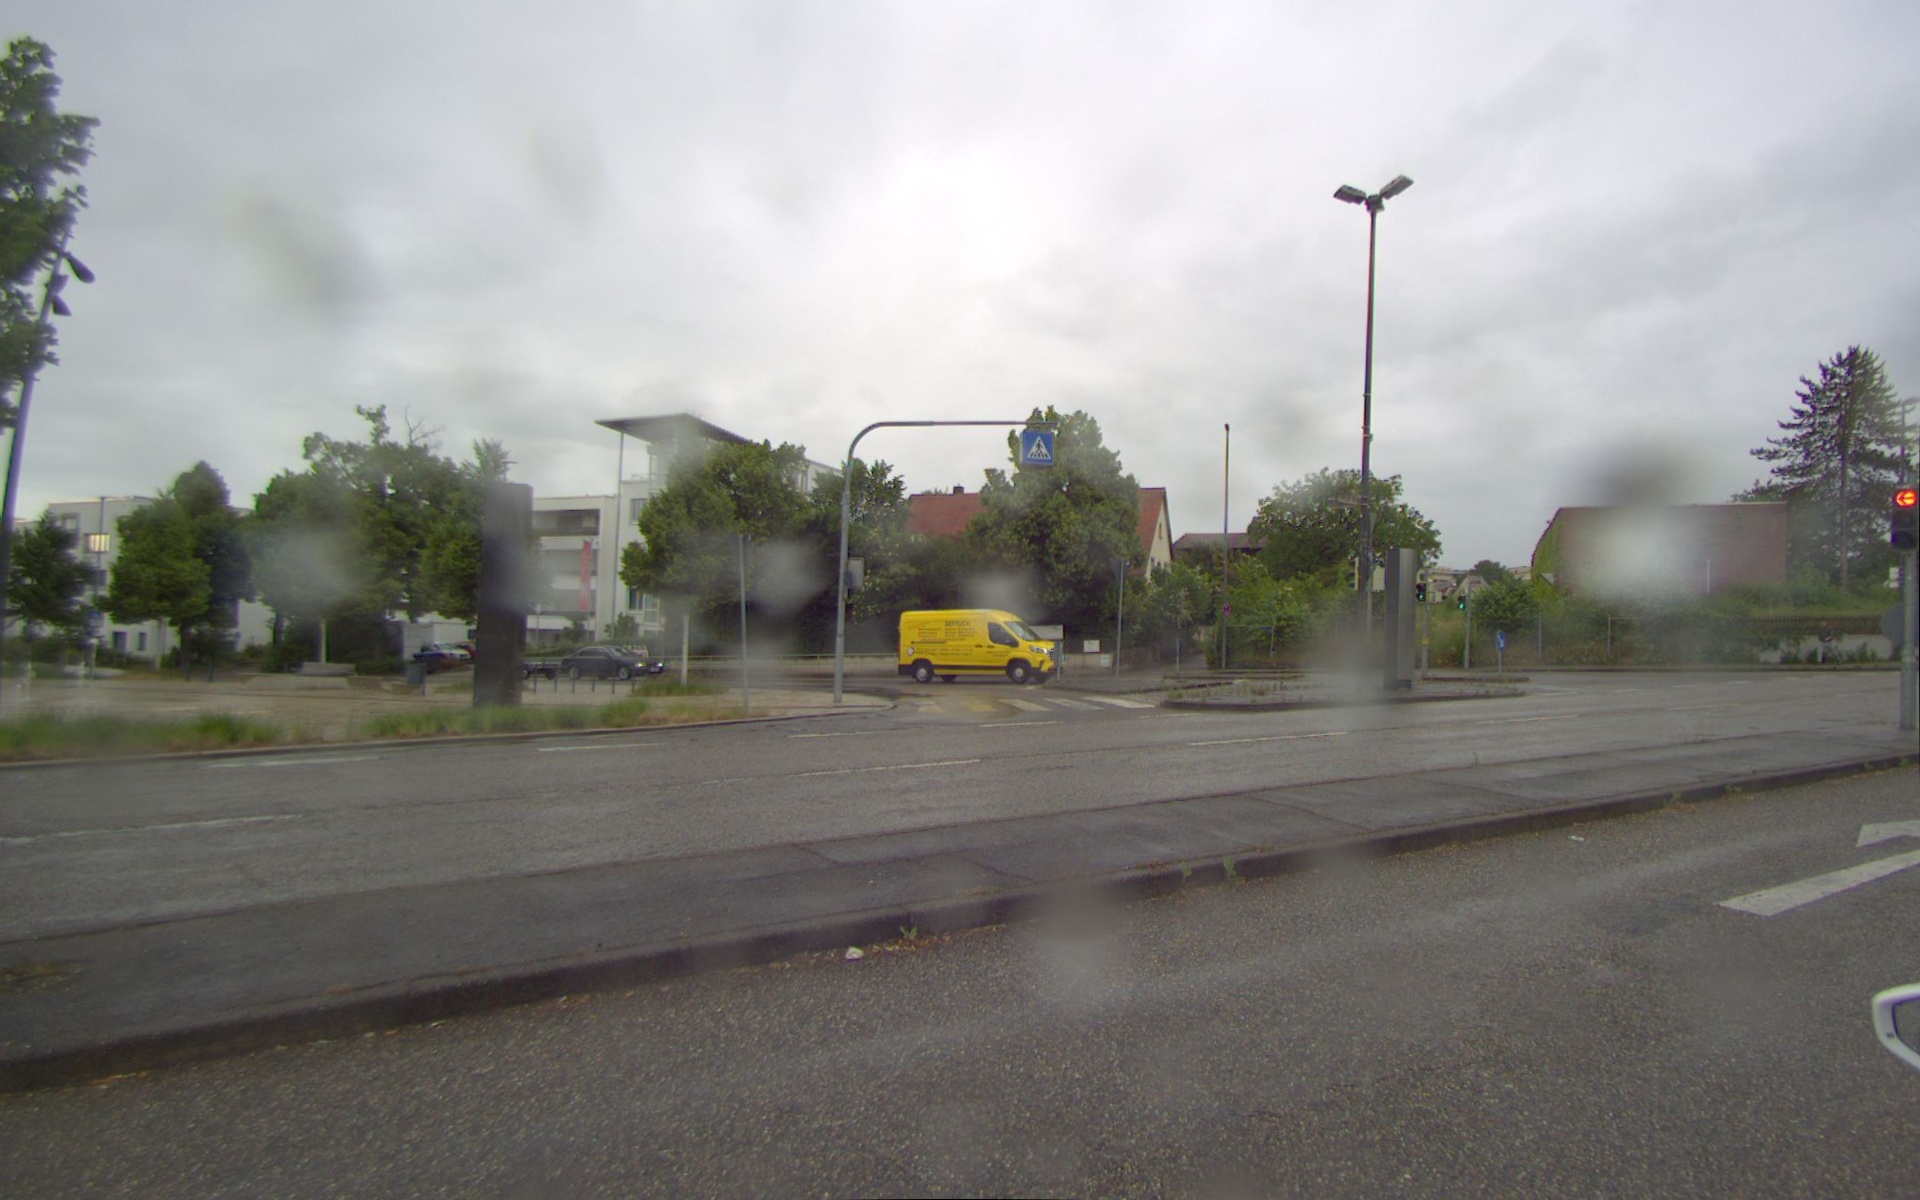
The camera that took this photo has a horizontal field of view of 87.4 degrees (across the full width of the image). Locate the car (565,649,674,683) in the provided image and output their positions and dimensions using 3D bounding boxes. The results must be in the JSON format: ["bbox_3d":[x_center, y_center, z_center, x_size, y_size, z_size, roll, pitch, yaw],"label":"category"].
[{"bbox_3d":[-14.195,2.740,41.835,4.276,1.335,1.863,-2,-3,27],"label":"car"}]

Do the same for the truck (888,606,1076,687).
[{"bbox_3d":[0.709,1.612,34.400,6.063,2.571,2.226,-2,-3,28],"label":"truck"}]

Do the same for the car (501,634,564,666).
[{"bbox_3d":[-31.309,3.636,73.527,3.921,2.040,2.000,2,0,20],"label":"car"}]

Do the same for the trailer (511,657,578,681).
[{"bbox_3d":[-18.081,2.980,43.706,2.244,0.991,1.607,-2,-3,27],"label":"trailer"}]

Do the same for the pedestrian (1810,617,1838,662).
[{"bbox_3d":[32.052,1.461,37.282,0.490,1.663,0.553,0,-2,0],"label":"pedestrian"}]

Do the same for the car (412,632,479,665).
[{"bbox_3d":[-34.682,3.234,67.762,3.921,2.040,1.791,2,0,20],"label":"car"}]

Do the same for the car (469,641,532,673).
[{"bbox_3d":[-32.701,4.016,71.463,3.921,2.040,1.791,2,0,20],"label":"car"}]
